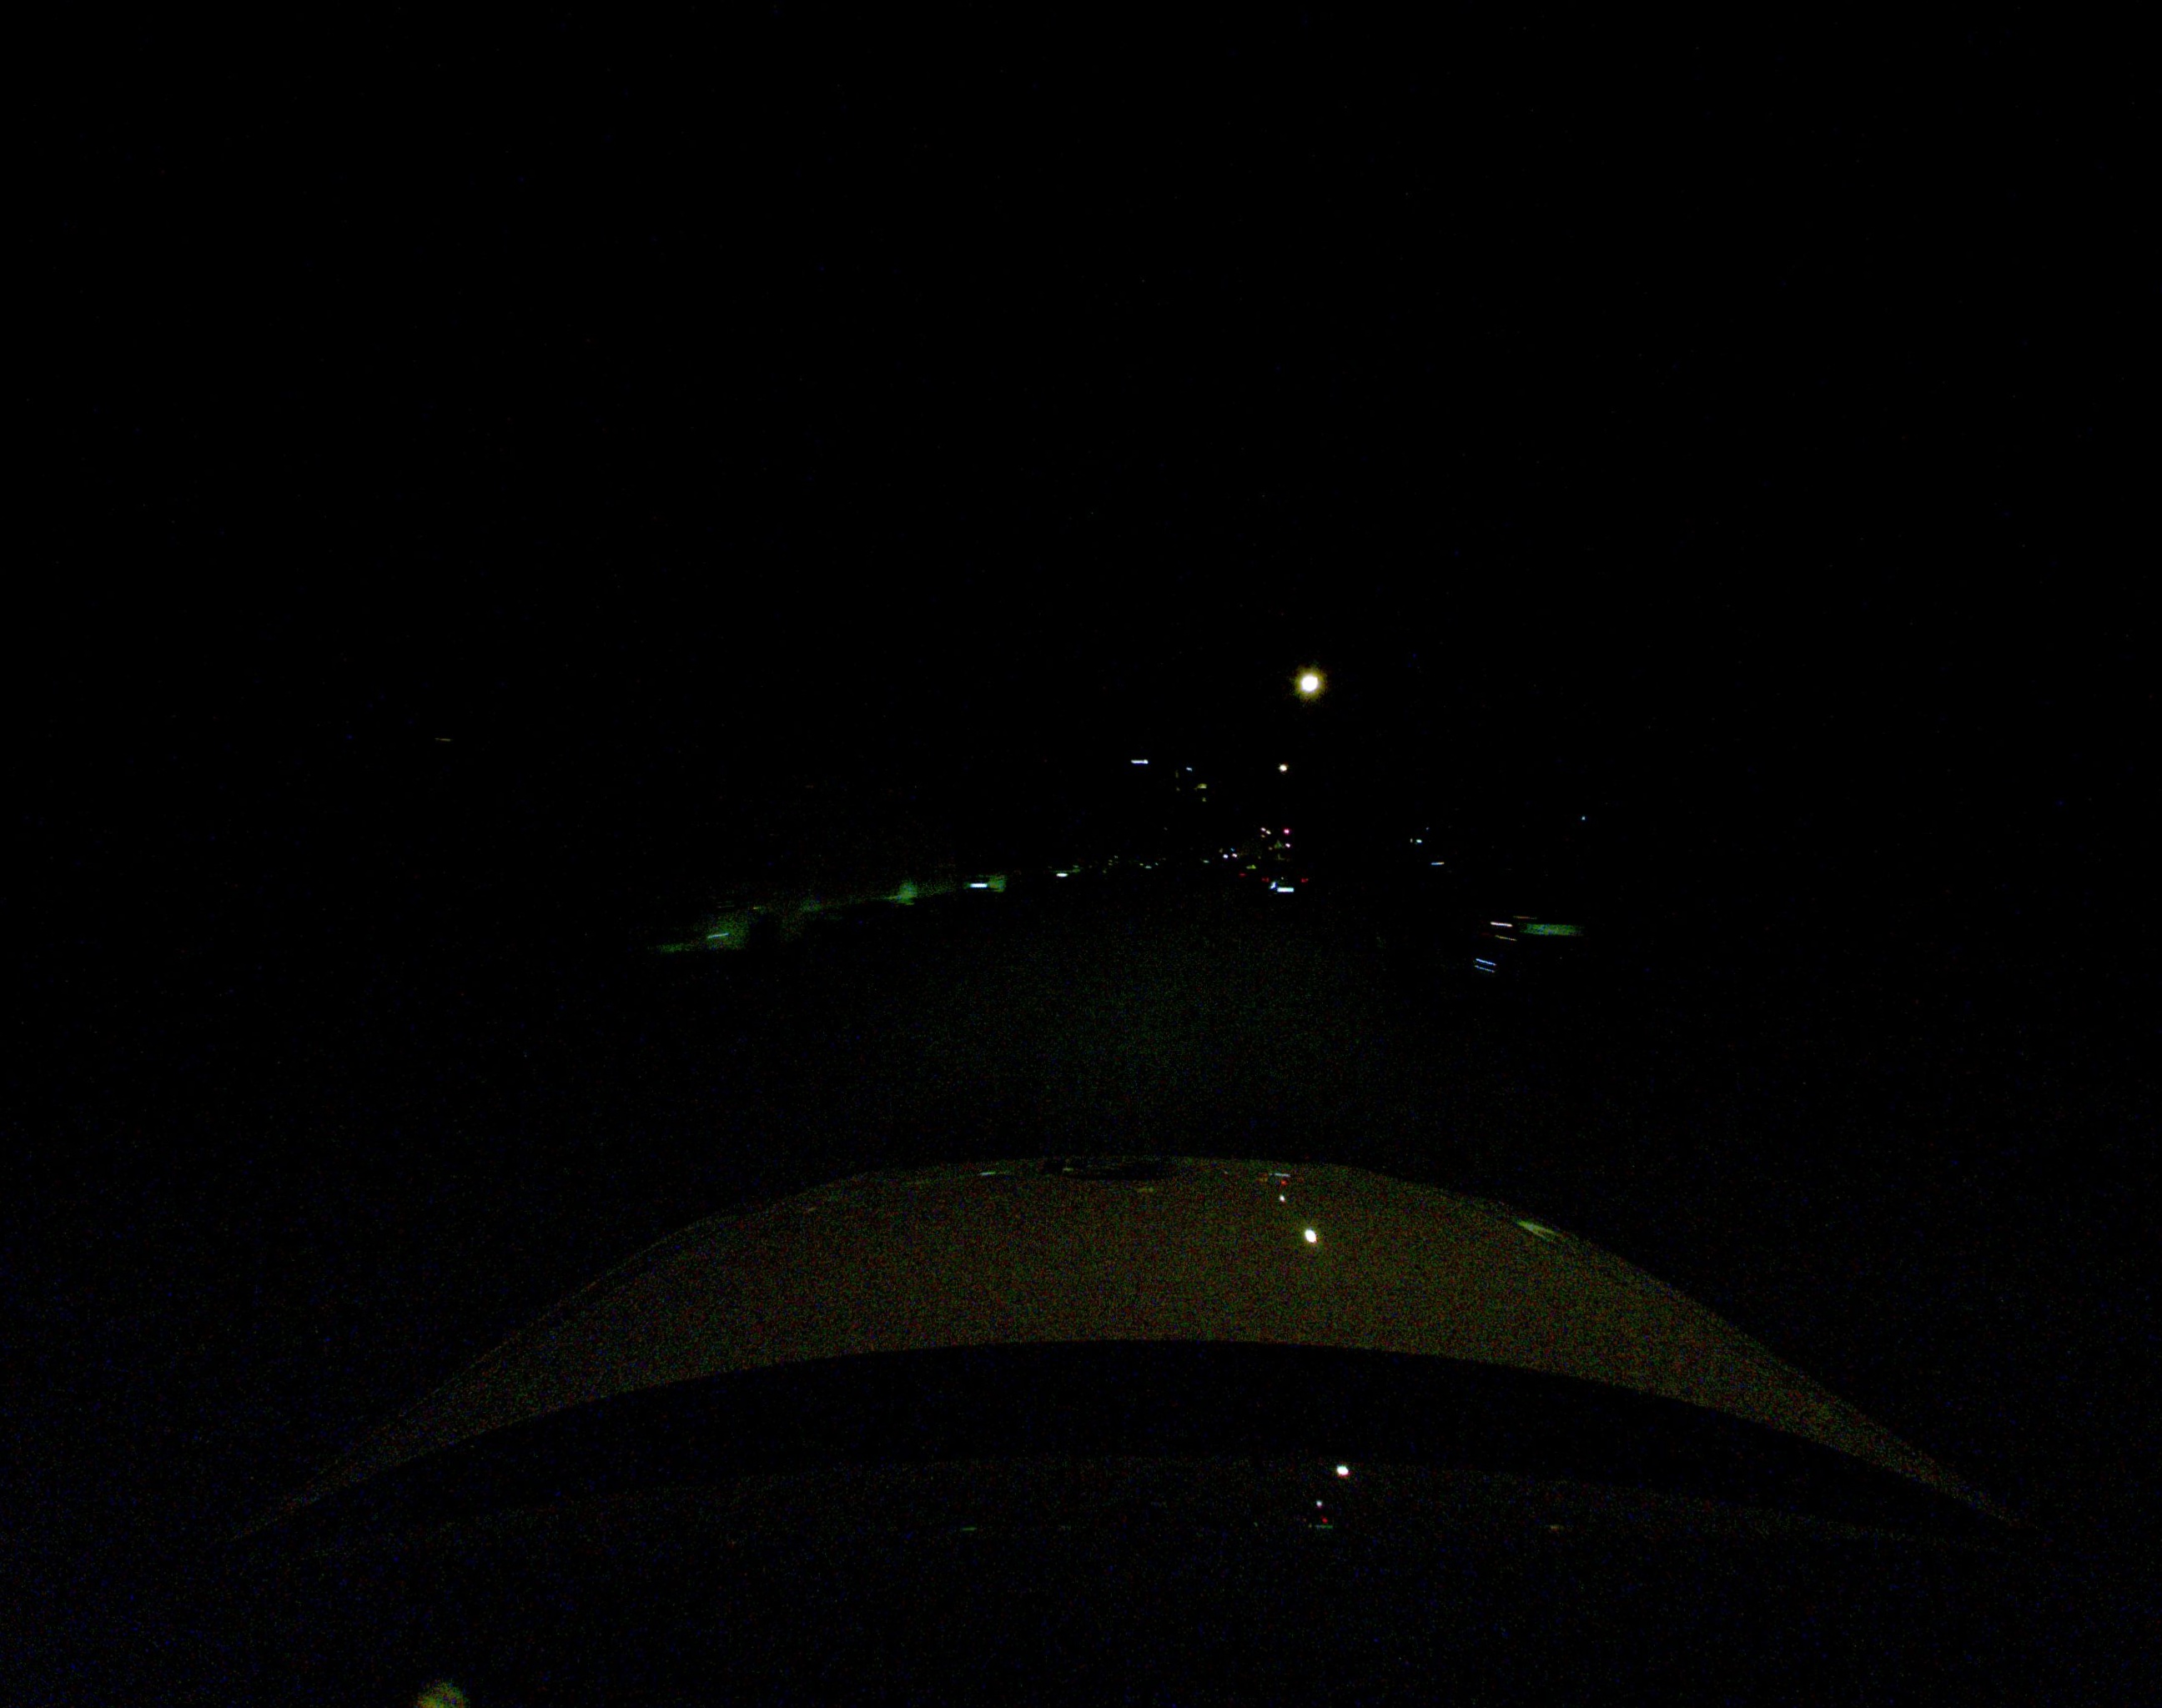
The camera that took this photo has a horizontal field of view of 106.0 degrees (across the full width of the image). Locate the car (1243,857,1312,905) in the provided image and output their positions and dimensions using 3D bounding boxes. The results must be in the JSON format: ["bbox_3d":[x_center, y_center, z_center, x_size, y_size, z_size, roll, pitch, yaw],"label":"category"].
[{"bbox_3d":[6.633,0.858,27.859,1.702,1.508,4.006,0,0,5],"label":"car"}]

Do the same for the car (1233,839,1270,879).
[{"bbox_3d":[11.471,0.280,54.502,2.005,2.526,6.076,0,0,15],"label":"car"}]

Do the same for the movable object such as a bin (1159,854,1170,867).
[{"bbox_3d":[10.248,0.783,99.809,1.156,1.496,1.069,-2,0,13],"label":"movable object such as a bin"}]

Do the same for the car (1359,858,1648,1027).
[{"bbox_3d":[4.556,0.823,9.444,1.601,1.512,3.830,1,0,4],"label":"car"}]

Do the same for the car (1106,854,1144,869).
[{"bbox_3d":[5.057,0.908,94.010,3.957,1.571,1.825,-2,0,15],"label":"car"}]

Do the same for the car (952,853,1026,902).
[{"bbox_3d":[-3.603,0.875,32.821,1.983,1.772,4.700,-1,0,6],"label":"car"}]

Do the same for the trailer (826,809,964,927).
[{"bbox_3d":[-4.791,0.339,21.784,2.194,2.795,4.623,-1,0,5],"label":"trailer"}]

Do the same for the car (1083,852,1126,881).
[{"bbox_3d":[1.653,0.836,55.523,1.816,1.816,4.857,-2,0,15],"label":"car"}]

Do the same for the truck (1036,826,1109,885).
[{"bbox_3d":[-0.373,0.091,49.272,2.525,3.280,7.341,-1,0,15],"label":"truck"}]

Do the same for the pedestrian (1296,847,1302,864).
[{"bbox_3d":[25.193,0.164,94.068,0.566,1.852,0.823,-1,0,17],"label":"pedestrian"}]

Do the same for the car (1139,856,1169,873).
[{"bbox_3d":[6.617,0.933,73.276,1.741,1.526,4.342,0,-1,18],"label":"car"}]

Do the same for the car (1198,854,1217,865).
[{"bbox_3d":[17.371,0.679,111.765,1.896,1.404,4.357,-2,0,17],"label":"car"}]

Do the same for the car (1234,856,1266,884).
[{"bbox_3d":[9.850,0.893,47.354,1.699,1.508,4.655,-1,0,12],"label":"car"}]

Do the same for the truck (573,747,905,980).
[{"bbox_3d":[-5.632,0.146,15.105,2.361,3.243,7.245,-1,0,6],"label":"truck"}]

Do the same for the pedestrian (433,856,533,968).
[{"bbox_3d":[-9.433,0.884,12.865,0.769,1.671,1.013,-2,0,31],"label":"pedestrian"}]

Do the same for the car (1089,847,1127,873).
[{"bbox_3d":[2.599,0.552,76.707,1.977,2.321,4.991,-3,-1,20],"label":"car"}]
